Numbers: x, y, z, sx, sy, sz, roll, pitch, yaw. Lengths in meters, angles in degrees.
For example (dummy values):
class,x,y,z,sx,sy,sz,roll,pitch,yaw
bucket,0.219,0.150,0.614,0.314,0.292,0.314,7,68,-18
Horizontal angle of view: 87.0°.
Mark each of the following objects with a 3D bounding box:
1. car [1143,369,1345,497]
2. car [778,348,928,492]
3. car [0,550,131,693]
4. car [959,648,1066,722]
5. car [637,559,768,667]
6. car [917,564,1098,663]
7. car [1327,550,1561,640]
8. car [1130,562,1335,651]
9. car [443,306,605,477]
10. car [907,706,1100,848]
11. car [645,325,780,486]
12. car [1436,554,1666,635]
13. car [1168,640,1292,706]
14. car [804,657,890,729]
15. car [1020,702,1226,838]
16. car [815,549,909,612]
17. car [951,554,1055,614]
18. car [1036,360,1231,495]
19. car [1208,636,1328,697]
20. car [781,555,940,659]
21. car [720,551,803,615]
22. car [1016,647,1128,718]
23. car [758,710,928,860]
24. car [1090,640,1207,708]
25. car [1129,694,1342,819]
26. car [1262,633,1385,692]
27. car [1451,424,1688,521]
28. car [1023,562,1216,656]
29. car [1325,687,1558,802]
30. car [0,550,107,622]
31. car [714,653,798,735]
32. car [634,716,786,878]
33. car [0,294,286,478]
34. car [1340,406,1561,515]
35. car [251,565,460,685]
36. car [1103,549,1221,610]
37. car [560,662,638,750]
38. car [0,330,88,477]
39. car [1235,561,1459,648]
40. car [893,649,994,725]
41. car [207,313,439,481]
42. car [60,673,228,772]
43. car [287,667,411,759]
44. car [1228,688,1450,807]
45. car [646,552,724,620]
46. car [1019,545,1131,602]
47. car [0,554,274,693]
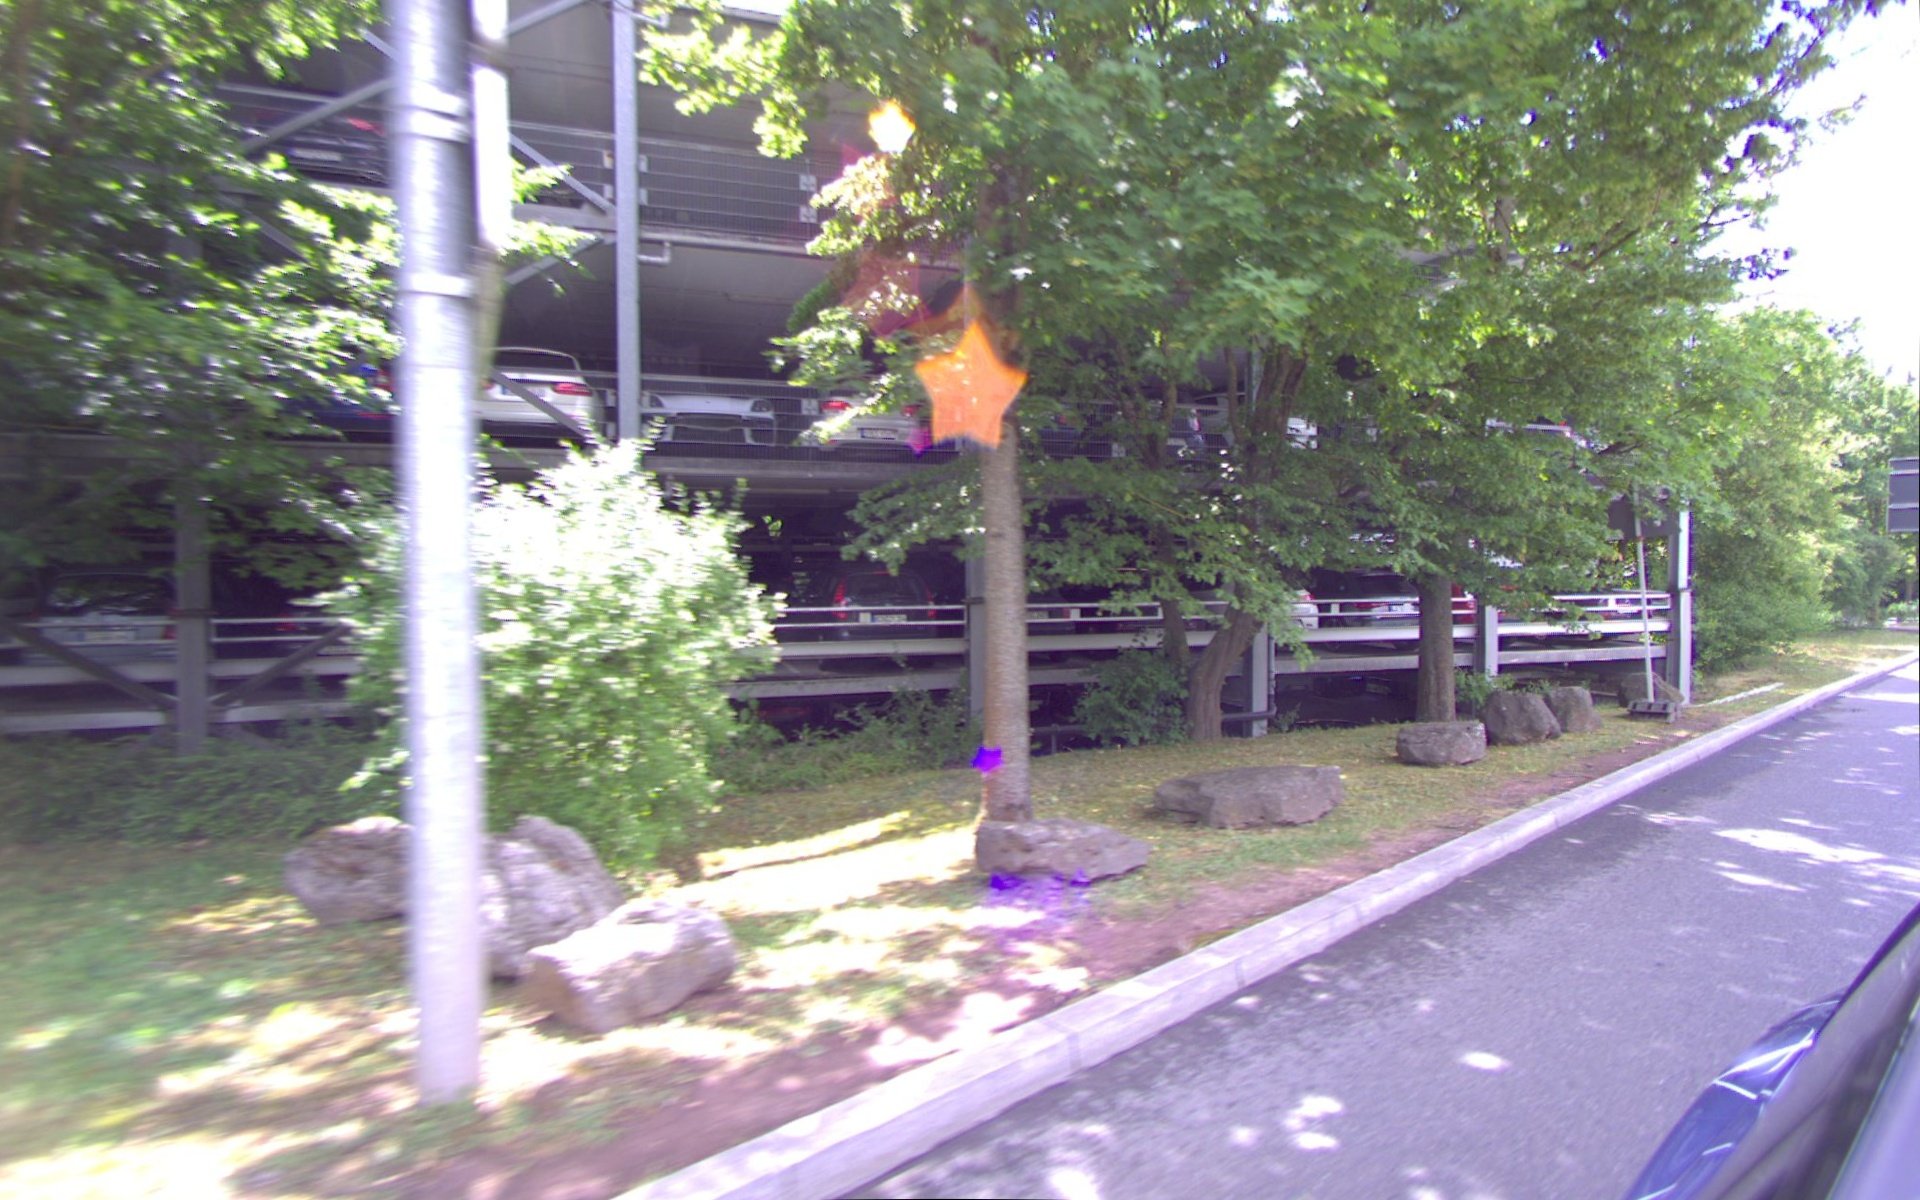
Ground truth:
class,x,y,z,sx,sy,sz,roll,pitch,yaw
car,4.887,-2.837,17.951,1.624,1.662,3.712,2,1,-17
car,-1.817,-2.727,16.156,1.624,1.639,3.712,2,1,-17
car,-12.275,0.214,12.648,1.659,1.646,3.866,0,2,-18
car,1.373,2.275,28.019,1.659,1.464,3.867,0,3,-18
car,-4.005,0.104,15.317,1.659,1.409,3.866,0,2,-18
car,0.623,0.129,16.400,1.659,1.409,3.866,0,2,-18
car,9.093,-0.146,19.366,1.798,1.533,3.866,0,2,-20
car,4.690,0.036,18.001,1.659,1.409,3.866,0,2,-18
car,-5.821,-2.685,13.877,1.624,1.582,3.712,2,1,-17
car,0.568,2.750,16.581,1.798,1.471,3.866,0,2,-20
car,-3.697,-2.664,14.697,1.624,1.639,3.712,2,1,-17
car,11.417,-0.154,19.839,1.624,1.429,3.712,0,2,-19
car,7.999,2.120,30.369,1.716,1.442,3.867,0,3,-18
car,-3.078,2.405,26.969,1.572,1.351,3.636,0,3,-18
car,2.620,2.743,17.208,1.798,1.471,3.866,0,2,-20
car,-2.686,-0.575,26.972,1.659,1.503,3.867,0,3,-18
car,1.130,-0.503,28.437,1.659,1.503,3.867,0,3,-18
car,2.739,-2.736,16.853,1.624,1.639,3.712,2,1,-17
car,9.666,2.039,32.075,1.716,1.442,3.867,0,3,-18
car,-1.677,0.032,15.793,1.659,1.409,3.866,0,2,-18
car,-5.255,-0.496,26.486,1.659,1.503,3.867,0,3,-18
car,3.084,2.265,28.621,1.659,1.464,3.867,0,3,-18
car,-1.965,2.752,15.914,1.798,1.471,3.866,0,2,-20
car,5.504,2.128,30.024,1.716,1.483,3.867,0,3,-18
car,4.815,2.691,18.266,1.798,1.471,3.866,0,2,-20
car,11.694,1.959,32.834,1.716,1.442,3.867,0,3,-18
car,11.546,-2.356,19.455,1.624,1.429,3.712,2,1,-17
car,2.564,0.073,17.246,1.659,1.409,3.866,0,2,-18
car,9.055,2.646,19.385,1.798,1.471,3.866,0,2,-20
car,-20.037,-0.334,21.404,1.739,1.409,3.807,0,2,-18
car,-5.266,2.311,25.787,1.659,1.464,3.867,0,3,-18
car,-3.842,2.773,15.113,1.798,1.471,3.866,0,2,-20
car,-10.219,-2.555,12.904,1.691,1.561,3.712,2,1,-17
car,9.175,-2.555,19.262,1.624,1.582,3.712,2,1,-17
car,-8.100,0.232,13.933,1.659,1.409,3.866,0,2,-18
car,5.909,-0.659,30.055,1.716,1.665,3.867,0,3,-18
car,-8.683,2.484,24.511,1.659,1.464,3.867,0,3,-18
car,-12.120,-2.415,11.731,1.691,1.561,3.712,2,1,-17
car,6.900,0.002,18.509,1.775,1.409,3.866,0,2,-18
car,-0.526,2.283,27.419,1.659,1.464,3.867,0,3,-18
car,-8.070,-2.477,13.177,1.624,1.449,3.712,2,1,-17
car,-17.741,2.583,22.221,1.605,1.464,3.793,0,3,-18
car,-14.164,2.548,23.683,1.659,1.464,3.867,0,3,-18
car,6.920,2.640,18.936,1.798,1.471,3.866,0,2,-20
car,-6.912,-0.409,25.214,1.659,1.503,3.867,0,3,-18
car,3.233,-0.824,29.110,1.716,1.503,3.867,0,3,-18
car,-10.454,0.195,13.046,1.659,1.508,3.866,0,2,-18
